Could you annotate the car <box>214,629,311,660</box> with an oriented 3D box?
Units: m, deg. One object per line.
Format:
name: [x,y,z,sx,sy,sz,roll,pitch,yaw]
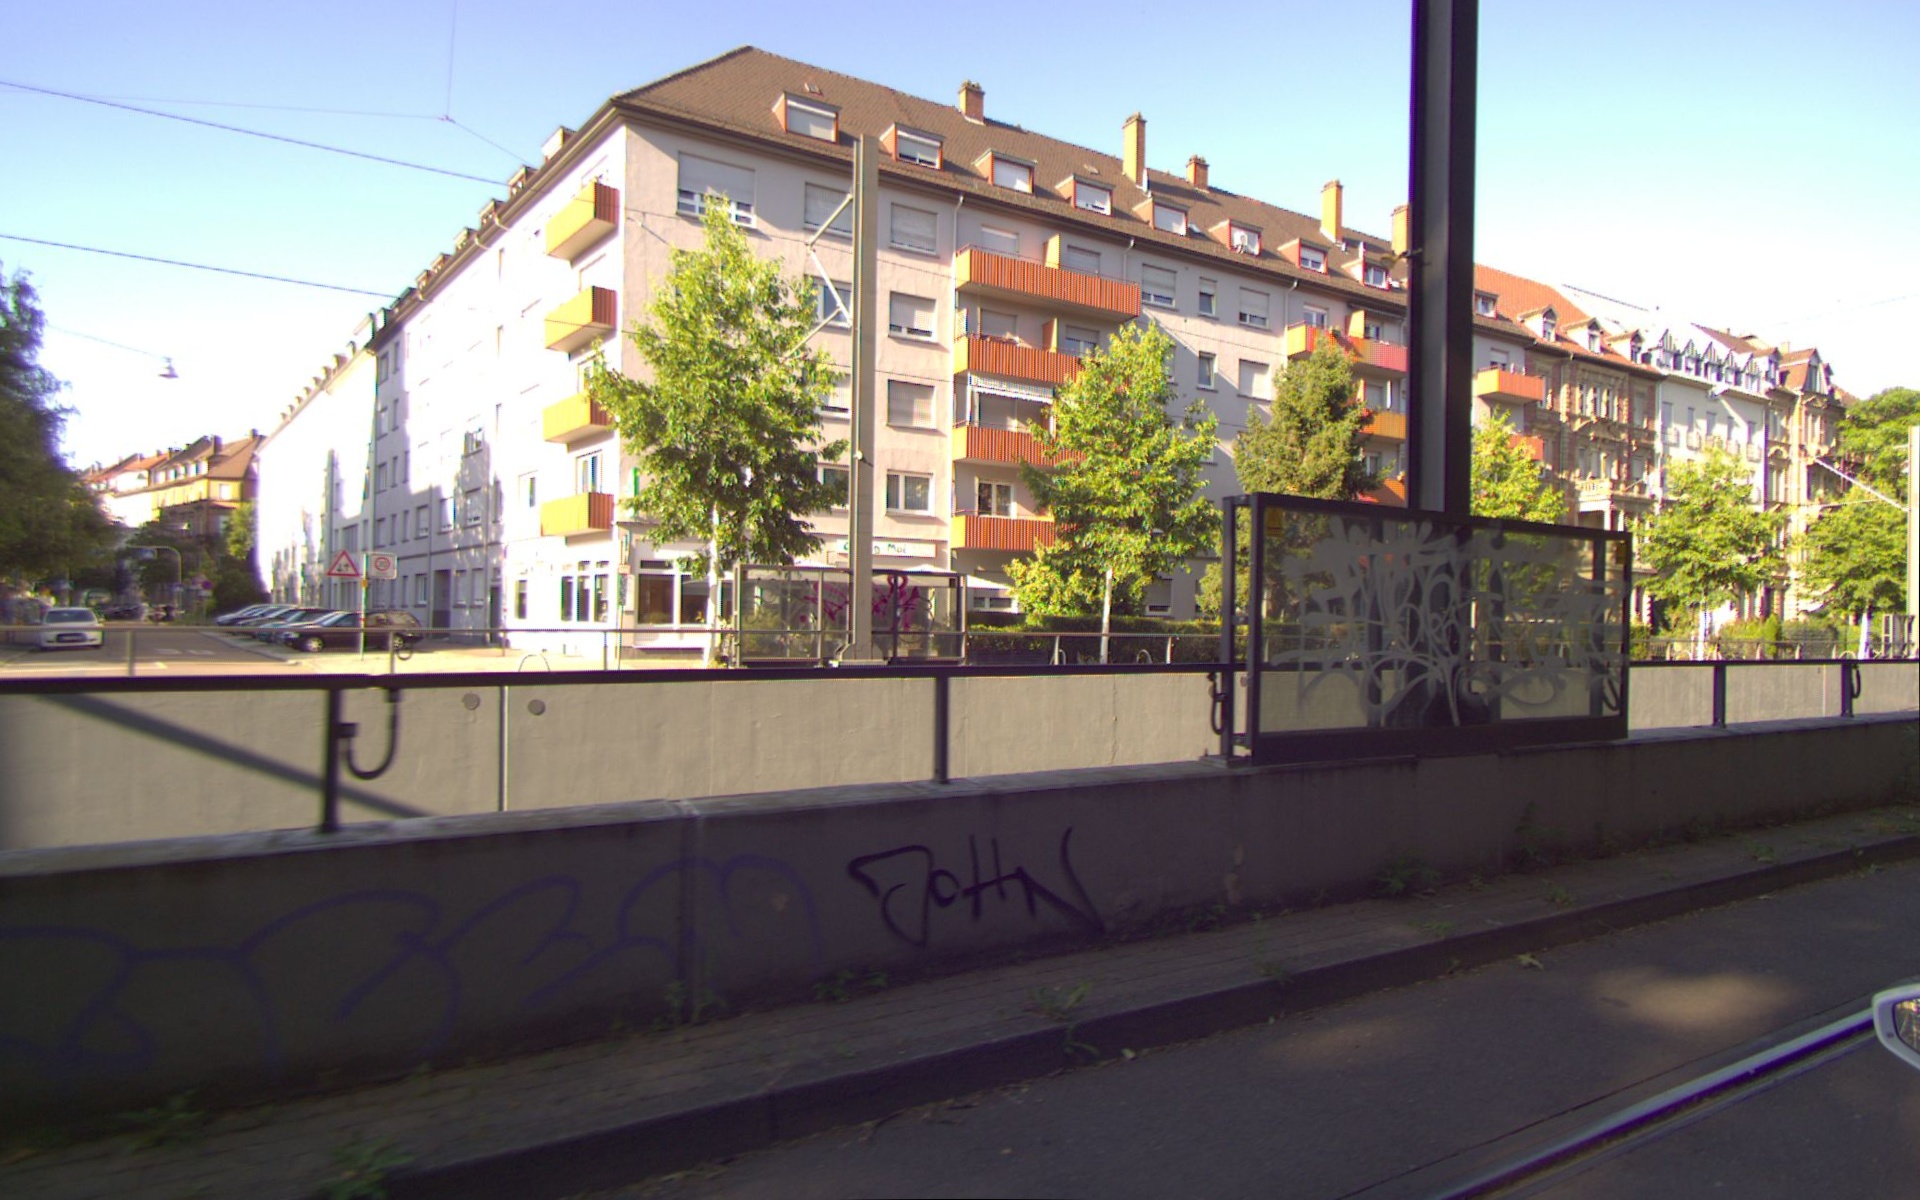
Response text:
car: [-36.528,2.297,52.647,3.969,1.439,1.976,1,0,-42]

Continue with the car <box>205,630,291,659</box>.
car: [-41.593,2.574,58.710,3.969,1.573,1.976,1,0,-42]

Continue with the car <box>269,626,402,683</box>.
car: [-23.174,1.967,37.338,3.969,1.884,1.976,1,0,-42]

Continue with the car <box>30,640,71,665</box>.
car: [-57.299,3.278,63.311,1.685,1.439,3.634,0,-1,-39]

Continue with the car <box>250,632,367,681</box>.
car: [-27.839,2.372,42.961,3.969,1.884,1.976,1,0,-42]

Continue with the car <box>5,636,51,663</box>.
car: [-53.445,2.835,57.649,1.685,1.439,3.634,0,-1,-39]

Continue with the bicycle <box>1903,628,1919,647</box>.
bicycle: [57.292,2.219,60.101,2.347,1.113,0.553,0,0,-29]

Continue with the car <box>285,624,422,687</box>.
car: [-21.592,1.905,35.817,3.951,2.040,1.802,0,0,-42]

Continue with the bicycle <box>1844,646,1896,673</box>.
bicycle: [44.459,2.911,49.094,0.555,1.194,1.802,0,0,-26]

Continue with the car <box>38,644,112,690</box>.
car: [-30.855,2.295,35.100,1.684,1.439,3.636,0,-1,-37]

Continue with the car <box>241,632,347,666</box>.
car: [-31.282,2.268,47.217,3.969,1.439,1.976,1,0,-42]

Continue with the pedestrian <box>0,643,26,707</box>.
pedestrian: [-25.401,1.986,26.693,0.712,1.676,0.508,0,-2,-31]
